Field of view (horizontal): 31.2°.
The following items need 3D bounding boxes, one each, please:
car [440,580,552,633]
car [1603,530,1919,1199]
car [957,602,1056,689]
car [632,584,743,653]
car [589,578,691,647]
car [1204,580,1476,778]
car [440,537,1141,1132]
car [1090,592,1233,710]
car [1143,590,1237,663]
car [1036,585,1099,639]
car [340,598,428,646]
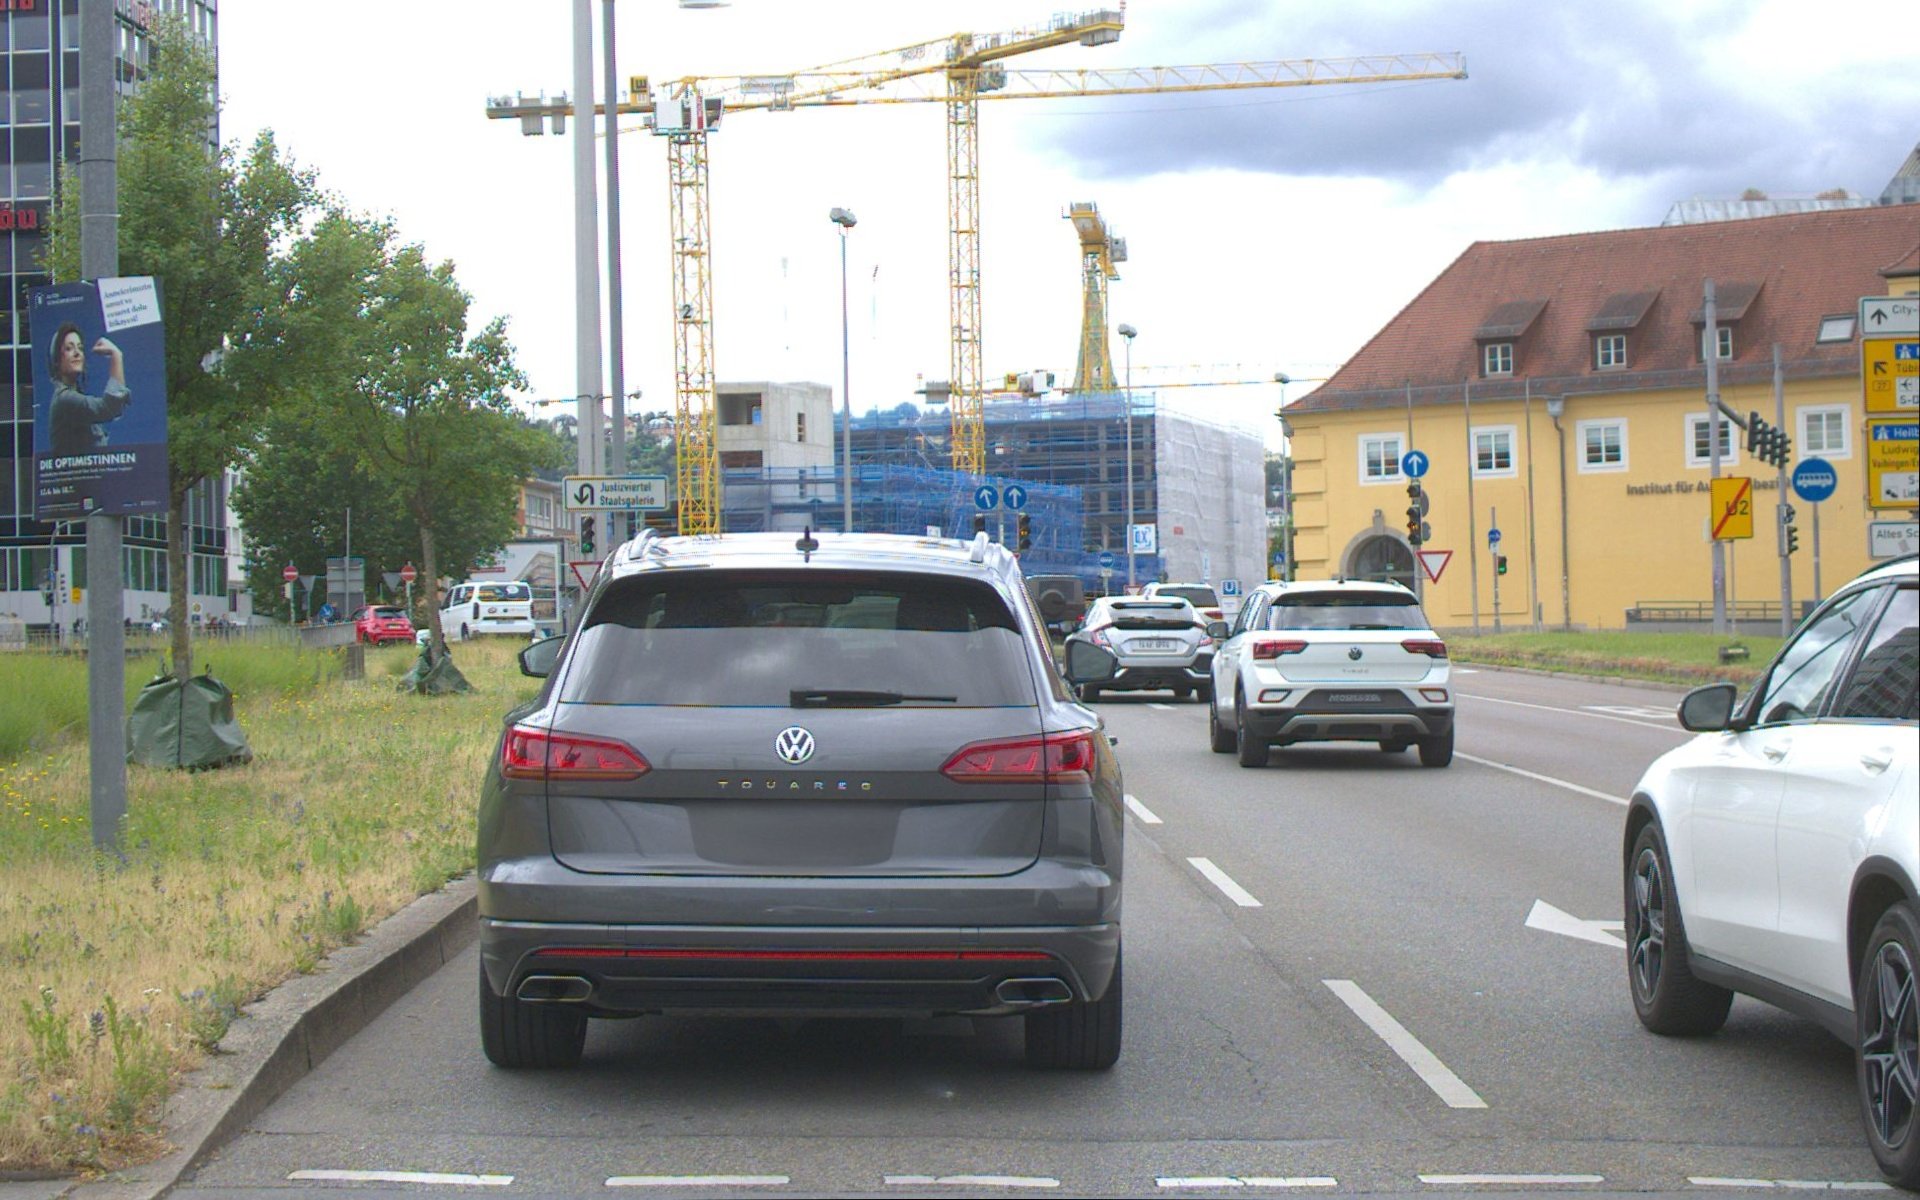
[{"bbox_3d":[-13.727,0.178,101.458,2.244,1.497,4.612,0,1,-22],"label":"car"},{"bbox_3d":[3.184,0.634,9.871,1.819,1.641,4.379,0,1,0],"label":"car"},{"bbox_3d":[0.885,0.813,63.821,1.719,1.497,3.981,1,0,2],"label":"car"},{"bbox_3d":[-6.218,0.405,78.016,1.813,1.491,3.907,0,1,-15],"label":"car"},{"bbox_3d":[-9.294,0.340,99.612,1.893,1.605,4.002,-2,5,-21],"label":"car"},{"bbox_3d":[3.205,0.625,29.706,1.893,1.580,3.801,0,1,-1],"label":"car"},{"bbox_3d":[-0.495,0.629,11.521,1.933,1.641,4.000,0,1,-1],"label":"car"},{"bbox_3d":[2.681,0.657,46.538,1.719,1.497,4.144,0,1,0],"label":"car"},{"bbox_3d":[4.944,0.557,74.367,1.803,1.497,3.981,0,1,0],"label":"car"},{"bbox_3d":[3.074,0.317,98.943,1.719,1.497,3.981,0,1,0],"label":"car"},{"bbox_3d":[-18.770,0.699,111.870,1.718,1.497,3.981,0,0,-27],"label":"car"}]
